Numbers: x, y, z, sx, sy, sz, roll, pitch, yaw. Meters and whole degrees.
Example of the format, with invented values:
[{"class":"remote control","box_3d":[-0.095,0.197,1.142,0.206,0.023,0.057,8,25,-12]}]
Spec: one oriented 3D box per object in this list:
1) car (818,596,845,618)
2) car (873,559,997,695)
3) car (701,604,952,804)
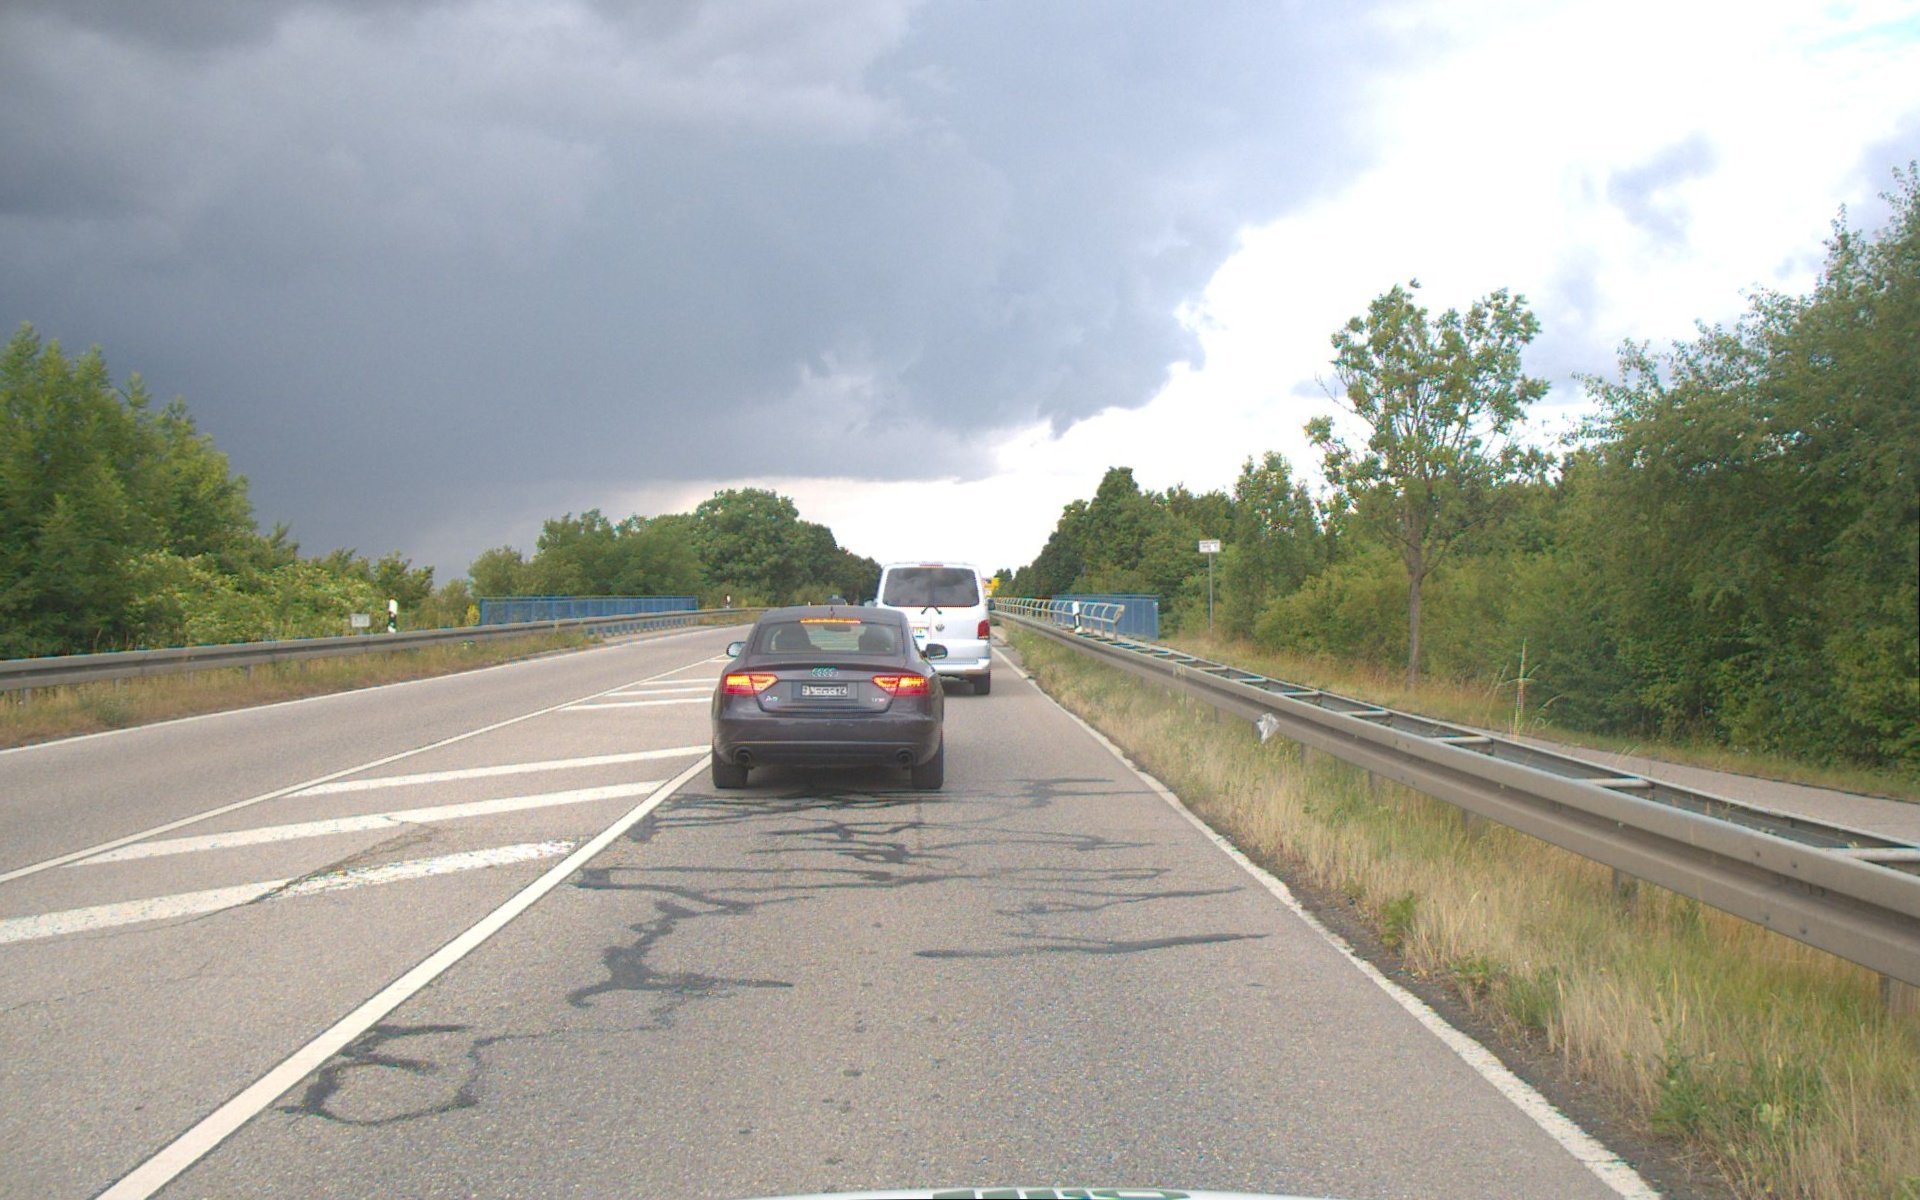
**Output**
[{"class":"car","box_3d":[-9.044,0.473,116.705,1.763,1.475,4.444,-1,0,-2]},{"class":"car","box_3d":[-0.404,0.390,26.101,1.791,1.969,3.999,-1,0,-1]},{"class":"car","box_3d":[-0.989,0.750,13.896,1.784,1.405,4.071,-1,0,-1]}]
